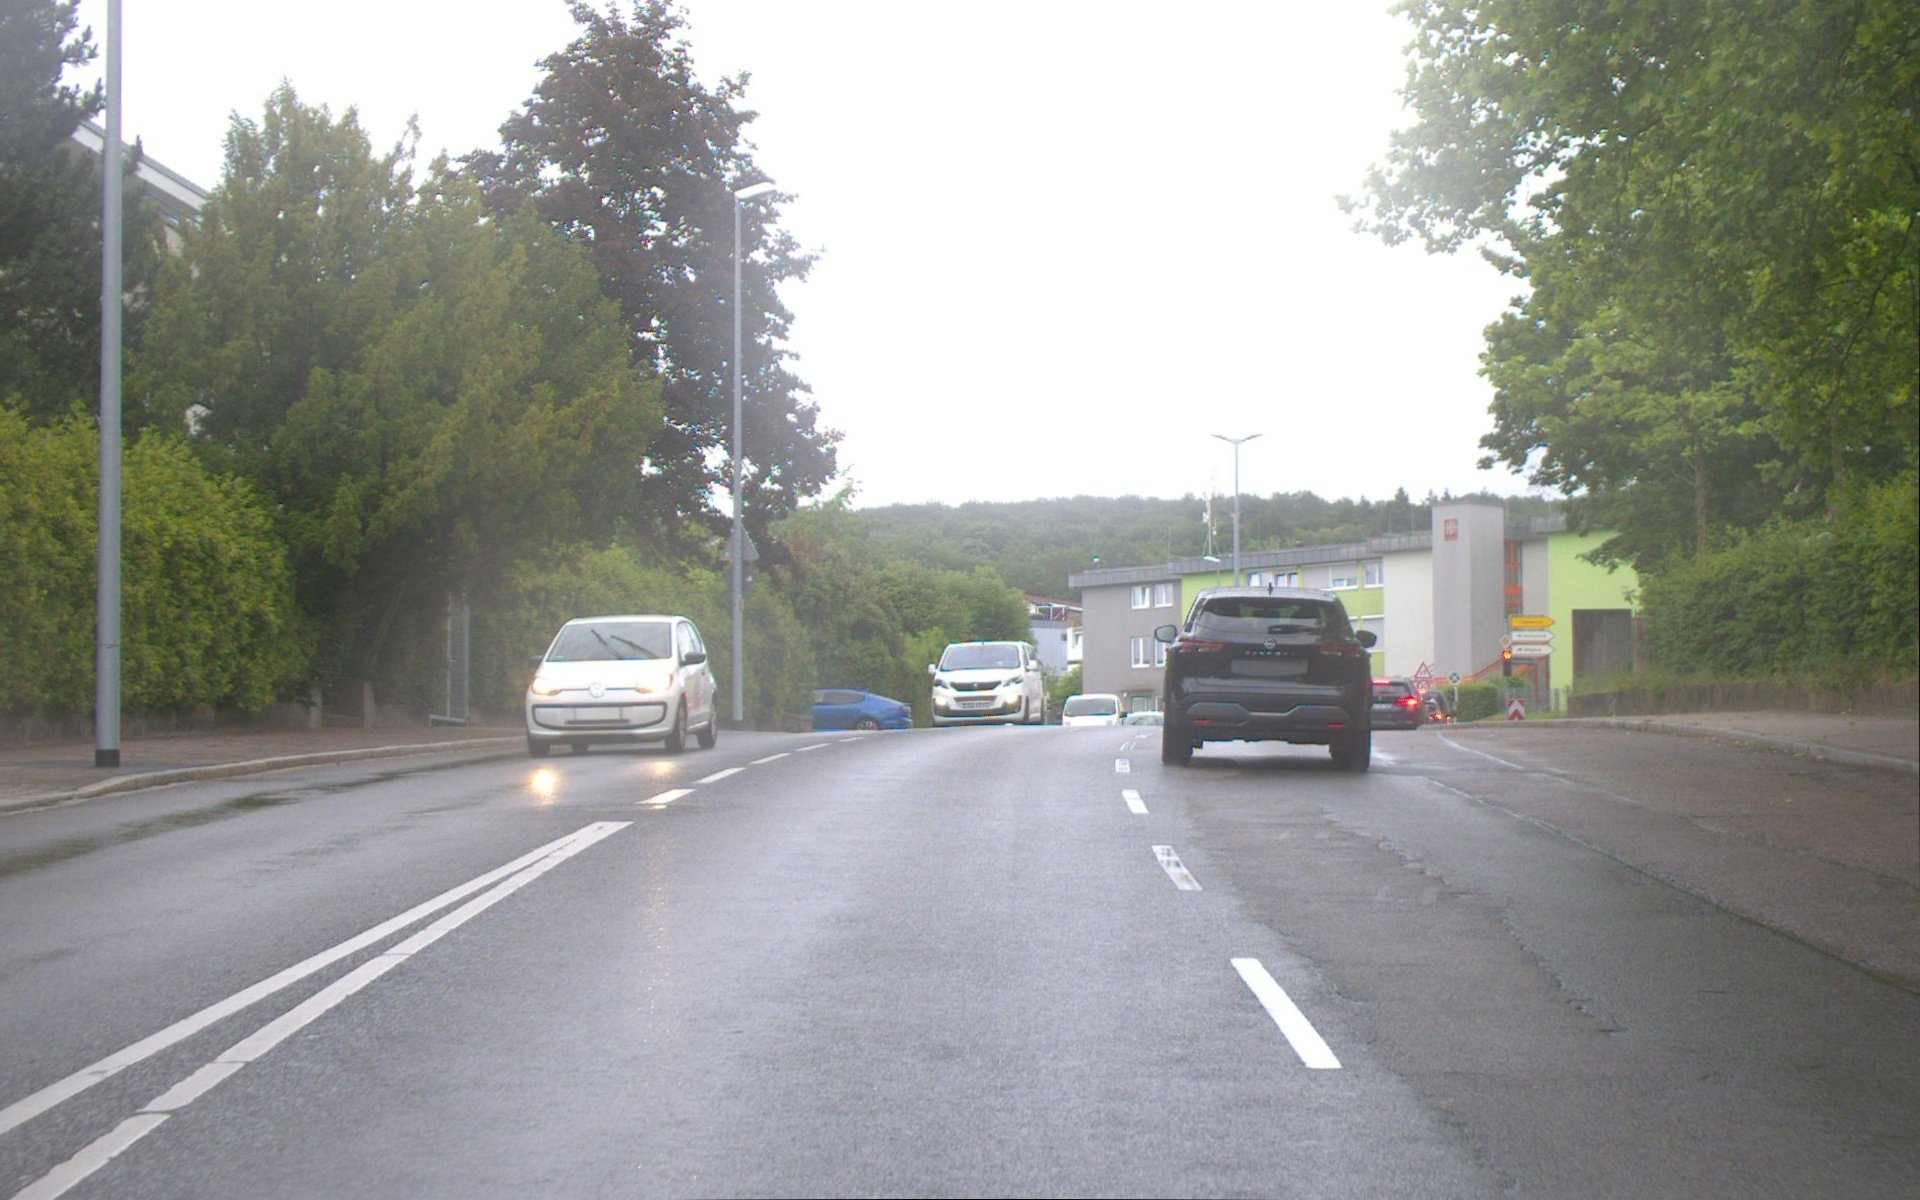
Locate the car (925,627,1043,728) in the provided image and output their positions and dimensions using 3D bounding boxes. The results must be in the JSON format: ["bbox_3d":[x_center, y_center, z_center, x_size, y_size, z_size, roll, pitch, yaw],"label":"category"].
[{"bbox_3d":[0.525,1.547,69.815,1.864,1.910,5.028,-2,-1,6],"label":"car"}]

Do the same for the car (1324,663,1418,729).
[{"bbox_3d":[9.516,2.213,79.782,1.994,1.437,3.999,1,-1,5],"label":"car"}]

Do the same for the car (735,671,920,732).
[{"bbox_3d":[-3.331,2.557,86.981,4.483,1.357,1.805,2,0,4],"label":"car"}]

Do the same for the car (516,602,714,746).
[{"bbox_3d":[-3.634,0.757,36.718,1.685,1.449,3.398,0,0,2],"label":"car"}]

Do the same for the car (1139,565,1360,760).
[{"bbox_3d":[2.581,0.512,31.457,1.790,1.598,4.253,2,1,2],"label":"car"}]

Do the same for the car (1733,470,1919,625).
[{"bbox_3d":[13.173,-0.792,51.658,1.993,2.219,4.134,1,1,-2],"label":"car"}]

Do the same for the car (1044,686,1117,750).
[{"bbox_3d":[3.472,3.390,98.340,1.701,1.702,3.977,3,-2,6],"label":"car"}]
